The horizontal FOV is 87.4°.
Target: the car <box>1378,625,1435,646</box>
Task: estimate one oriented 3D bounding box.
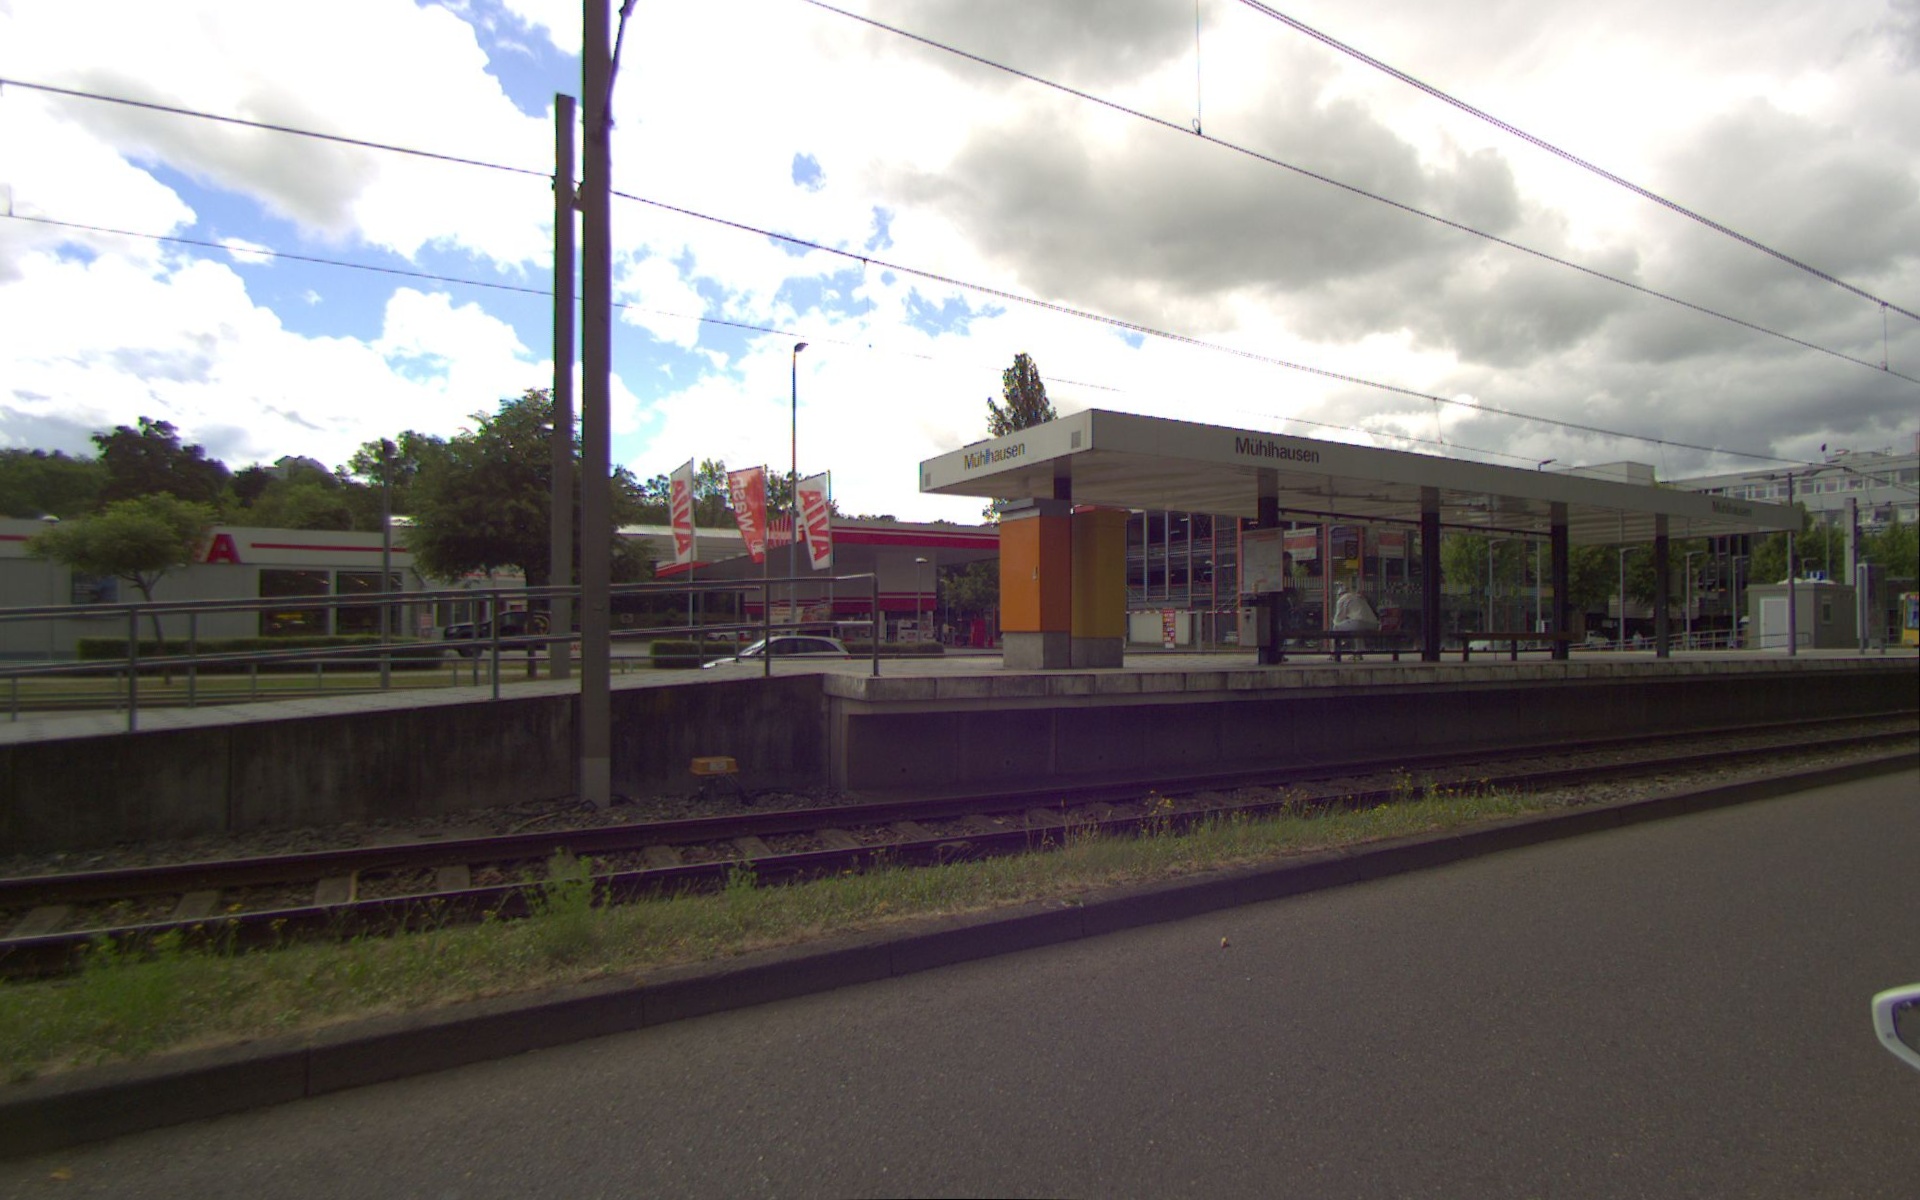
[{"bbox_3d":[33.380,2.676,75.046,3.954,1.492,1.984,2,-3,-31],"label":"car"}]

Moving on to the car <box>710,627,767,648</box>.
[{"bbox_3d":[-18.809,3.228,85.465,4.408,1.728,1.894,2,-4,-40],"label":"car"}]

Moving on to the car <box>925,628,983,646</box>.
[{"bbox_3d":[-0.460,2.815,76.020,4.015,1.383,1.899,2,-3,-33],"label":"car"}]

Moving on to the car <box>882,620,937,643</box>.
[{"bbox_3d":[-4.014,2.550,79.667,4.016,1.775,1.899,2,-3,-33],"label":"car"}]

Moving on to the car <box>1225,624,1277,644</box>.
[{"bbox_3d":[21.199,2.514,73.232,3.520,1.433,1.708,2,-3,-31],"label":"car"}]

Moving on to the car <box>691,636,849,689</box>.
[{"bbox_3d":[-5.218,1.677,27.743,3.984,1.368,1.605,1,-2,-31],"label":"car"}]

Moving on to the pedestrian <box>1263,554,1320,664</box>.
[{"bbox_3d":[5.077,0.147,15.380,0.579,1.641,0.567,1,-3,-32],"label":"pedestrian"}]

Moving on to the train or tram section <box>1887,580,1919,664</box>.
[{"bbox_3d":[53.048,1.188,51.544,18.412,3.933,2.744,1,-2,-30],"label":"train or tram section"}]

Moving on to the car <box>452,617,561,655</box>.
[{"bbox_3d":[-17.042,1.328,37.746,3.592,1.368,1.606,1,-2,-30],"label":"car"}]

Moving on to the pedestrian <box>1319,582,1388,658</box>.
[{"bbox_3d":[6.407,0.327,16.373,0.719,1.205,0.766,1,-2,-28],"label":"pedestrian"}]

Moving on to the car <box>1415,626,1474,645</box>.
[{"bbox_3d":[35.094,2.580,72.767,3.954,1.327,1.984,2,-3,-31],"label":"car"}]
